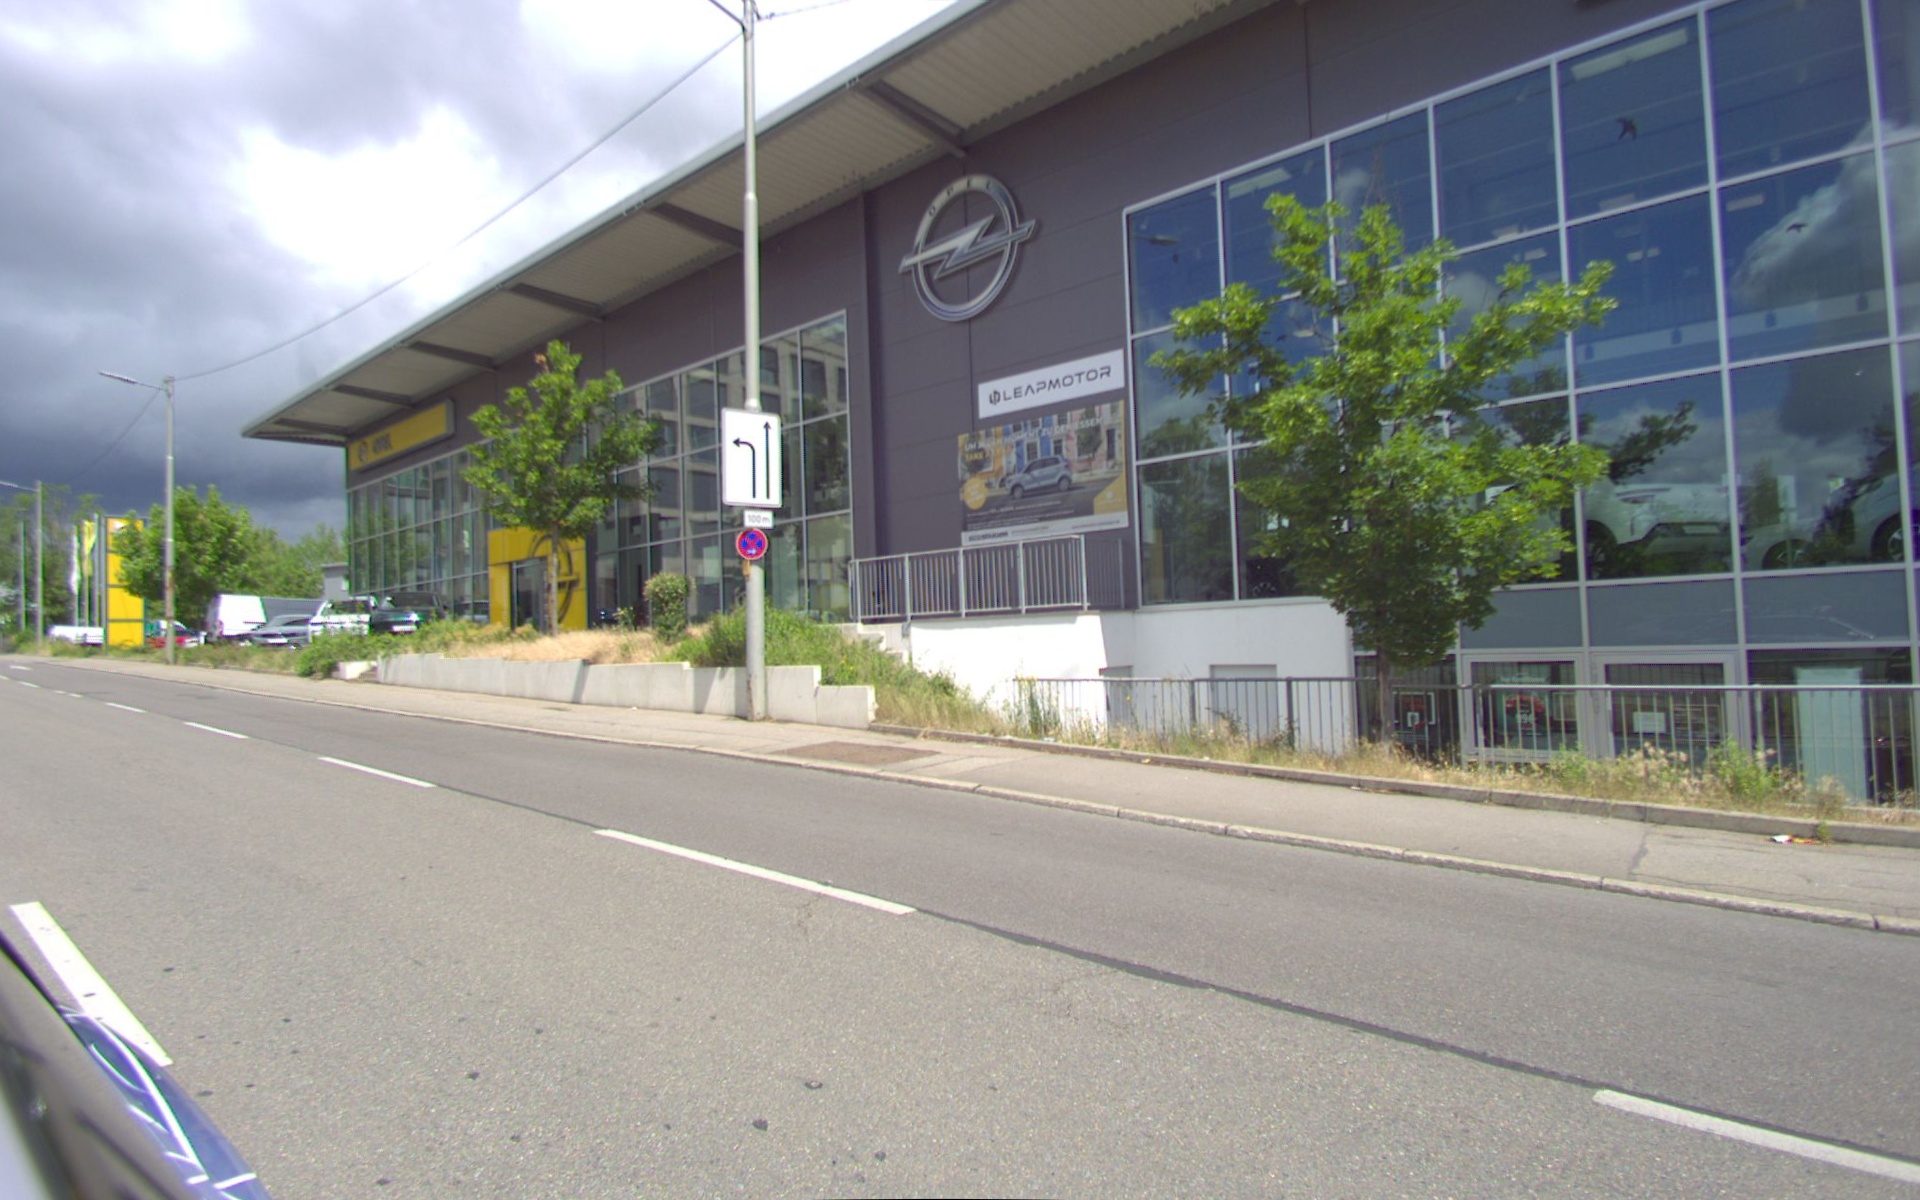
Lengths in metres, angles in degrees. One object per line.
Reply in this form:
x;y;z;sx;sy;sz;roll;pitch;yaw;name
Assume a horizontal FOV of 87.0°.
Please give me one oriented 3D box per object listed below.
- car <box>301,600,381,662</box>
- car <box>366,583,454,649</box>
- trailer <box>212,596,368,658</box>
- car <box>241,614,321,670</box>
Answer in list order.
-19.227;0.954;31.585;1.966;1.807;4.012;1;-2;-29;car
-15.701;0.477;28.797;1.966;1.741;4.011;1;-2;-31;car
-27.441;1.094;41.599;1.998;2.367;5.011;-1;-2;39;trailer
-23.493;1.414;35.146;1.966;1.807;4.012;1;-1;-29;car
